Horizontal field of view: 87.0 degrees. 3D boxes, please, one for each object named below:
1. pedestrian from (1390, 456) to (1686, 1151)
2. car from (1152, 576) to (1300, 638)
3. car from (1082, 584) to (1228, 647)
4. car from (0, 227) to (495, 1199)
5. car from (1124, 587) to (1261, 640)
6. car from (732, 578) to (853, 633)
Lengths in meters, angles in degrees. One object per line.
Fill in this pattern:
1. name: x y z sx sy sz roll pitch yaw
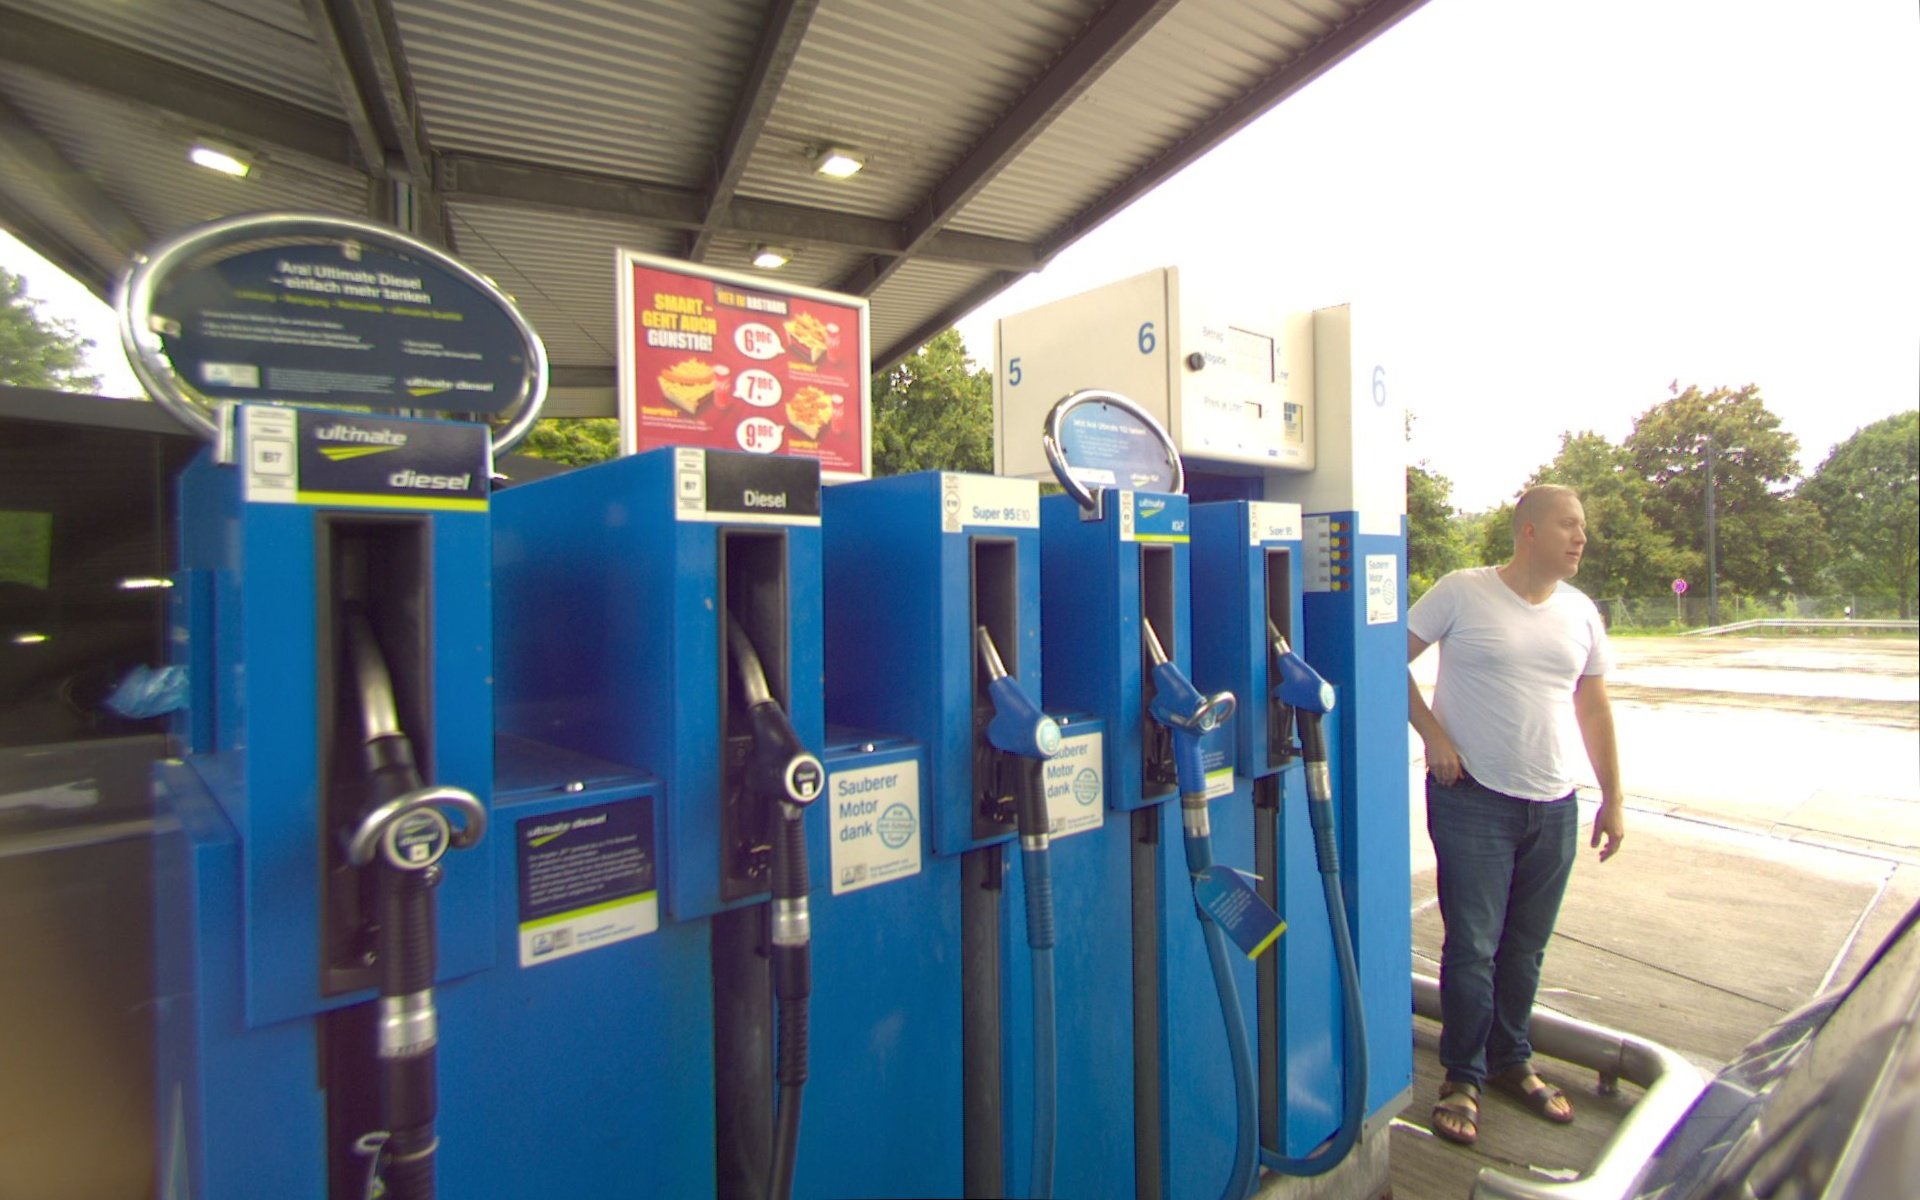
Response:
1. pedestrian: 1.659 0.537 2.983 0.625 1.832 0.492 -1 1 15
2. car: 8.935 0.208 34.326 4.700 2.011 2.007 0 0 14
3. car: 5.809 0.421 30.008 4.123 1.752 1.990 1 0 17
4. car: -3.026 0.391 1.474 3.930 1.973 1.819 0 0 -41
5. car: 7.398 0.405 32.142 4.123 1.576 1.990 1 0 17
6. car: -5.590 0.149 33.501 1.967 1.683 4.170 0 0 -44
